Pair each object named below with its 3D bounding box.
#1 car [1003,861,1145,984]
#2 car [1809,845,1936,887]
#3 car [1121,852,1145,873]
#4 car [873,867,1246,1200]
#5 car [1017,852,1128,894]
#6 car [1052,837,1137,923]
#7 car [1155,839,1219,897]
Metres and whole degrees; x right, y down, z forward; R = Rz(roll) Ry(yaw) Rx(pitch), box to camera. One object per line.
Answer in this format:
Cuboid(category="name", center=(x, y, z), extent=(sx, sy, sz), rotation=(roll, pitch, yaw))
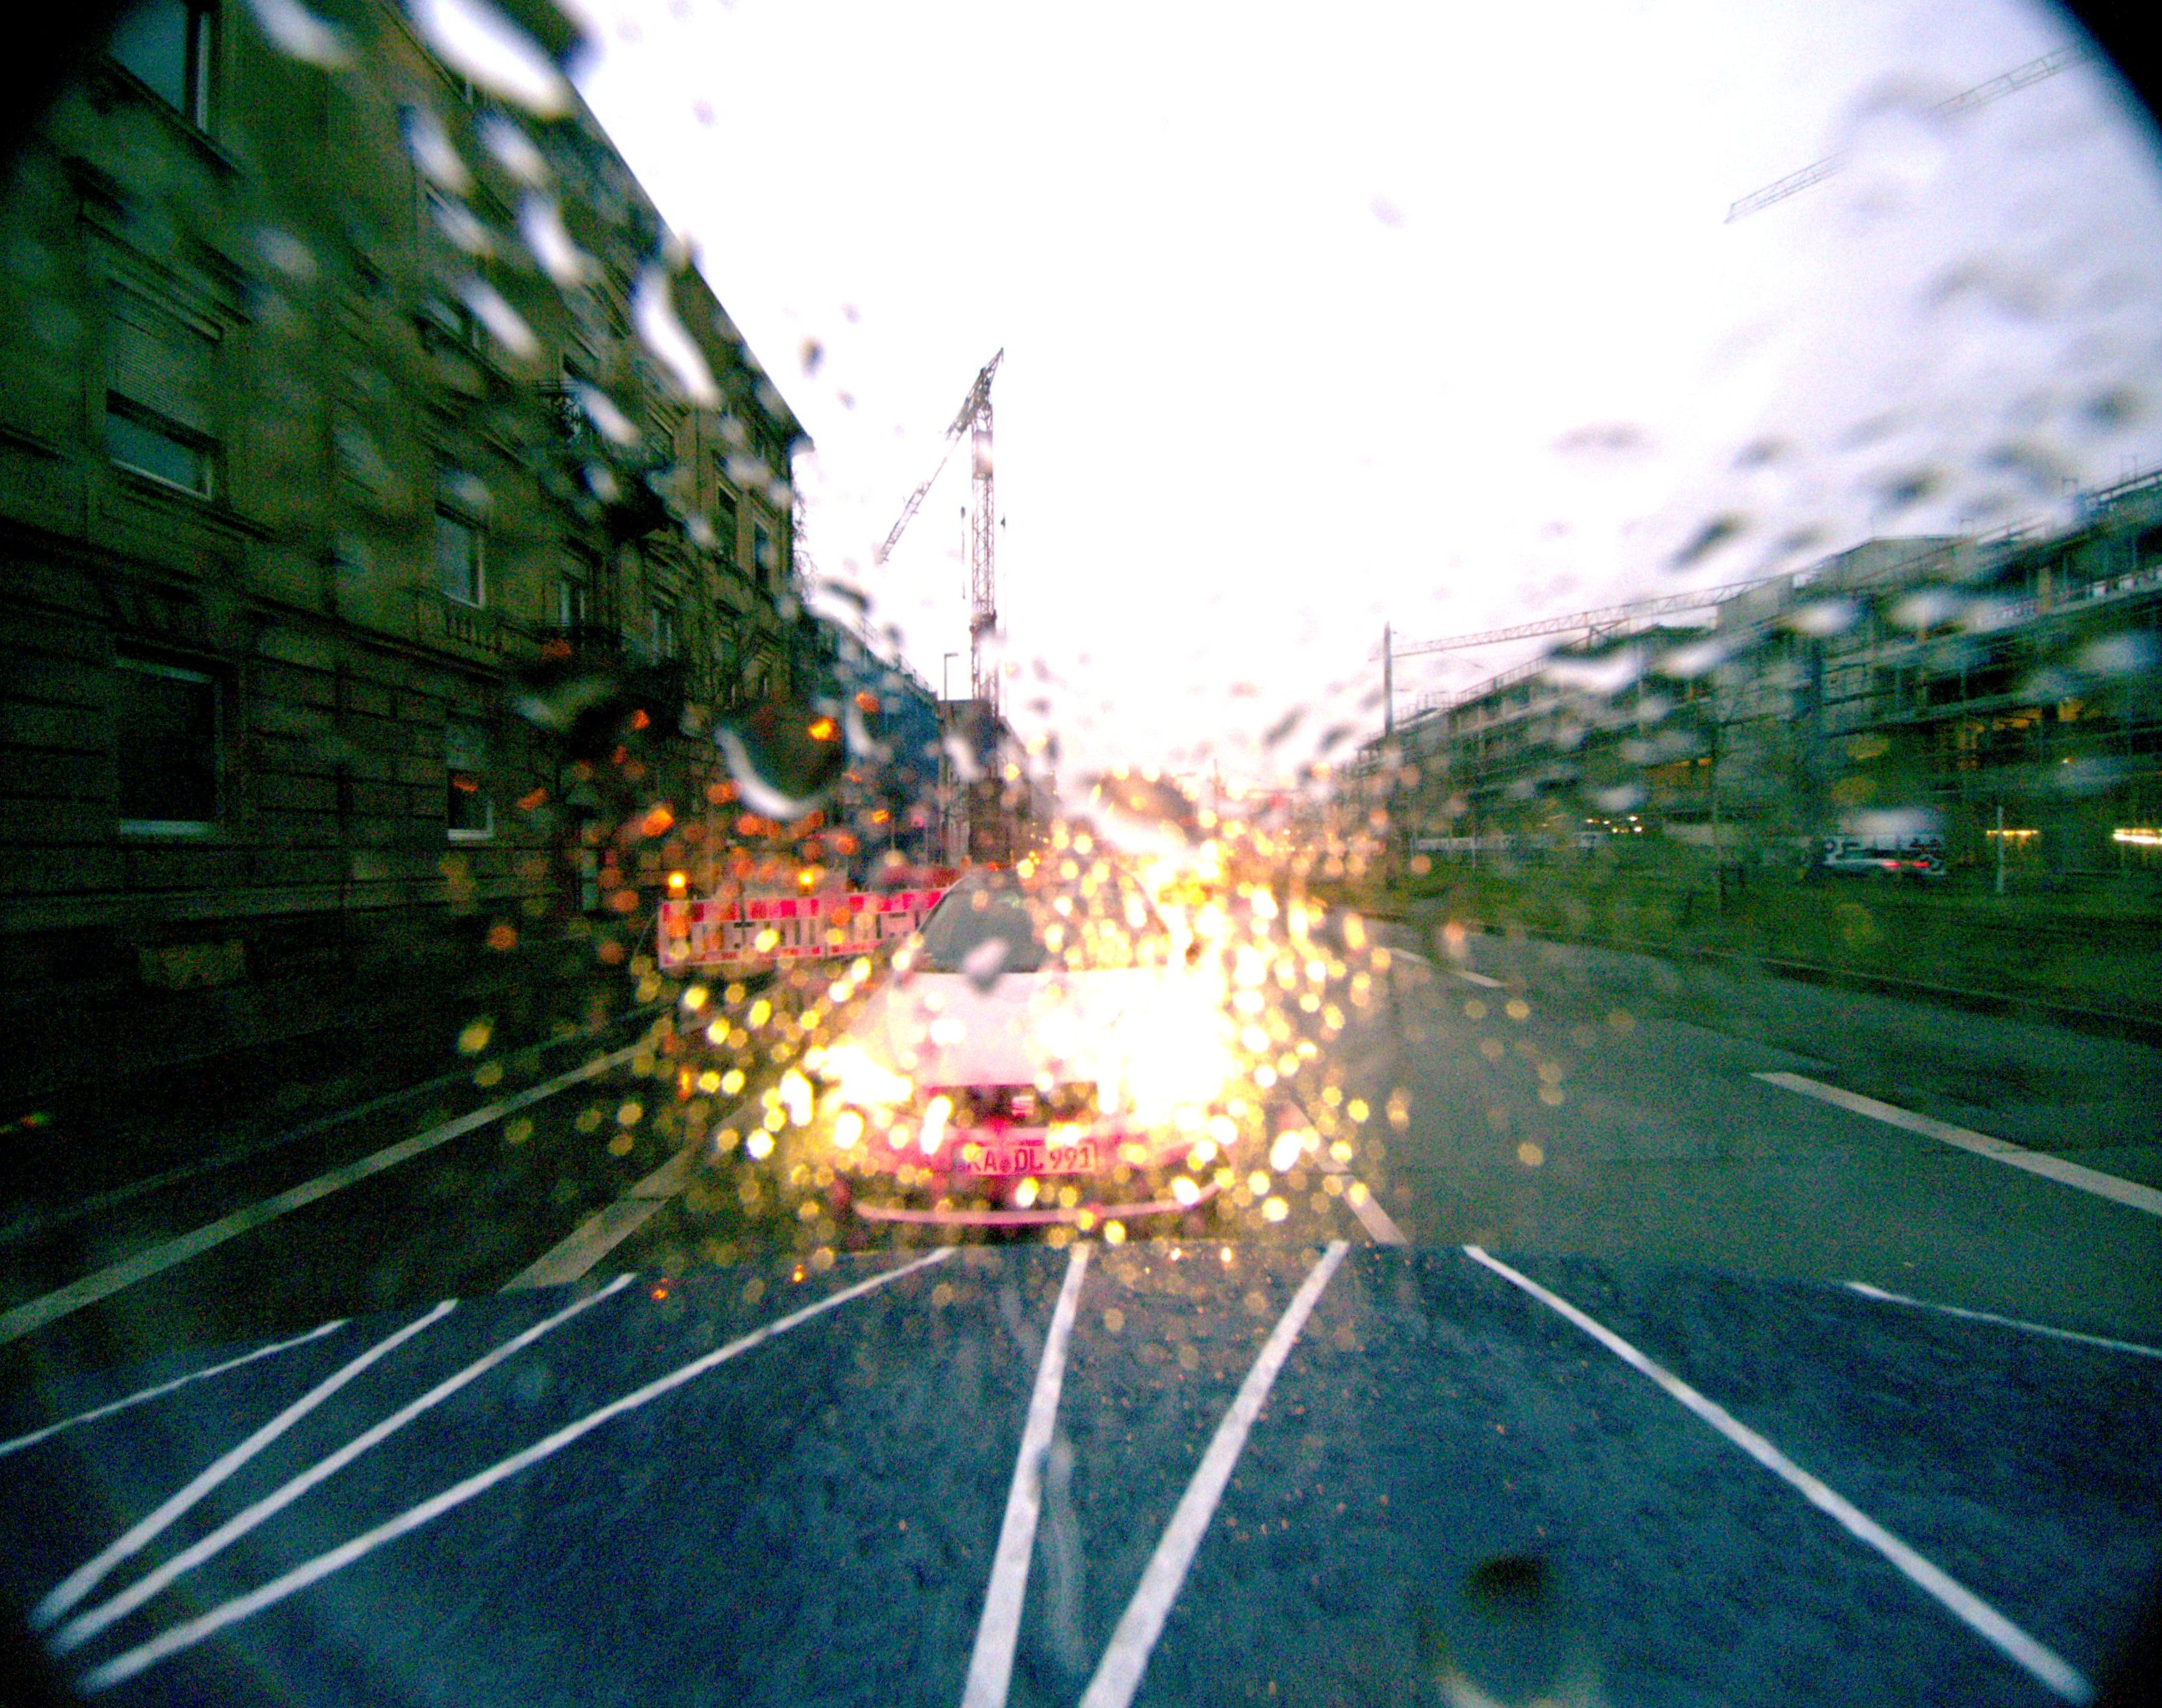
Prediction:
Cuboid(category="car", center=(-0.129, 0.898, 11.763), extent=(1.764, 1.443, 3.999), rotation=(-2, 1, -1))
Cuboid(category="car", center=(37.015, 0.500, 35.697), extent=(1.998, 1.761, 4.001), rotation=(-2, 1, 5))
Cuboid(category="car", center=(4.340, 0.699, 63.601), extent=(1.844, 1.547, 4.000), rotation=(-2, 1, 2))
Cuboid(category="car", center=(-0.142, 0.907, 5.706), extent=(1.764, 1.443, 3.999), rotation=(-2, 1, -1))
Cuboid(category="car", center=(-0.371, 0.804, 32.252), extent=(4.313, 1.644, 1.849), rotation=(-2, 1, 28))
Cuboid(category="car", center=(0.263, 0.577, 19.262), extent=(1.858, 1.886, 3.999), rotation=(-2, 1, -1))
Cuboid(category="car", center=(3.433, 0.405, 25.198), extent=(1.857, 1.723, 4.001), rotation=(-2, 1, 6))
